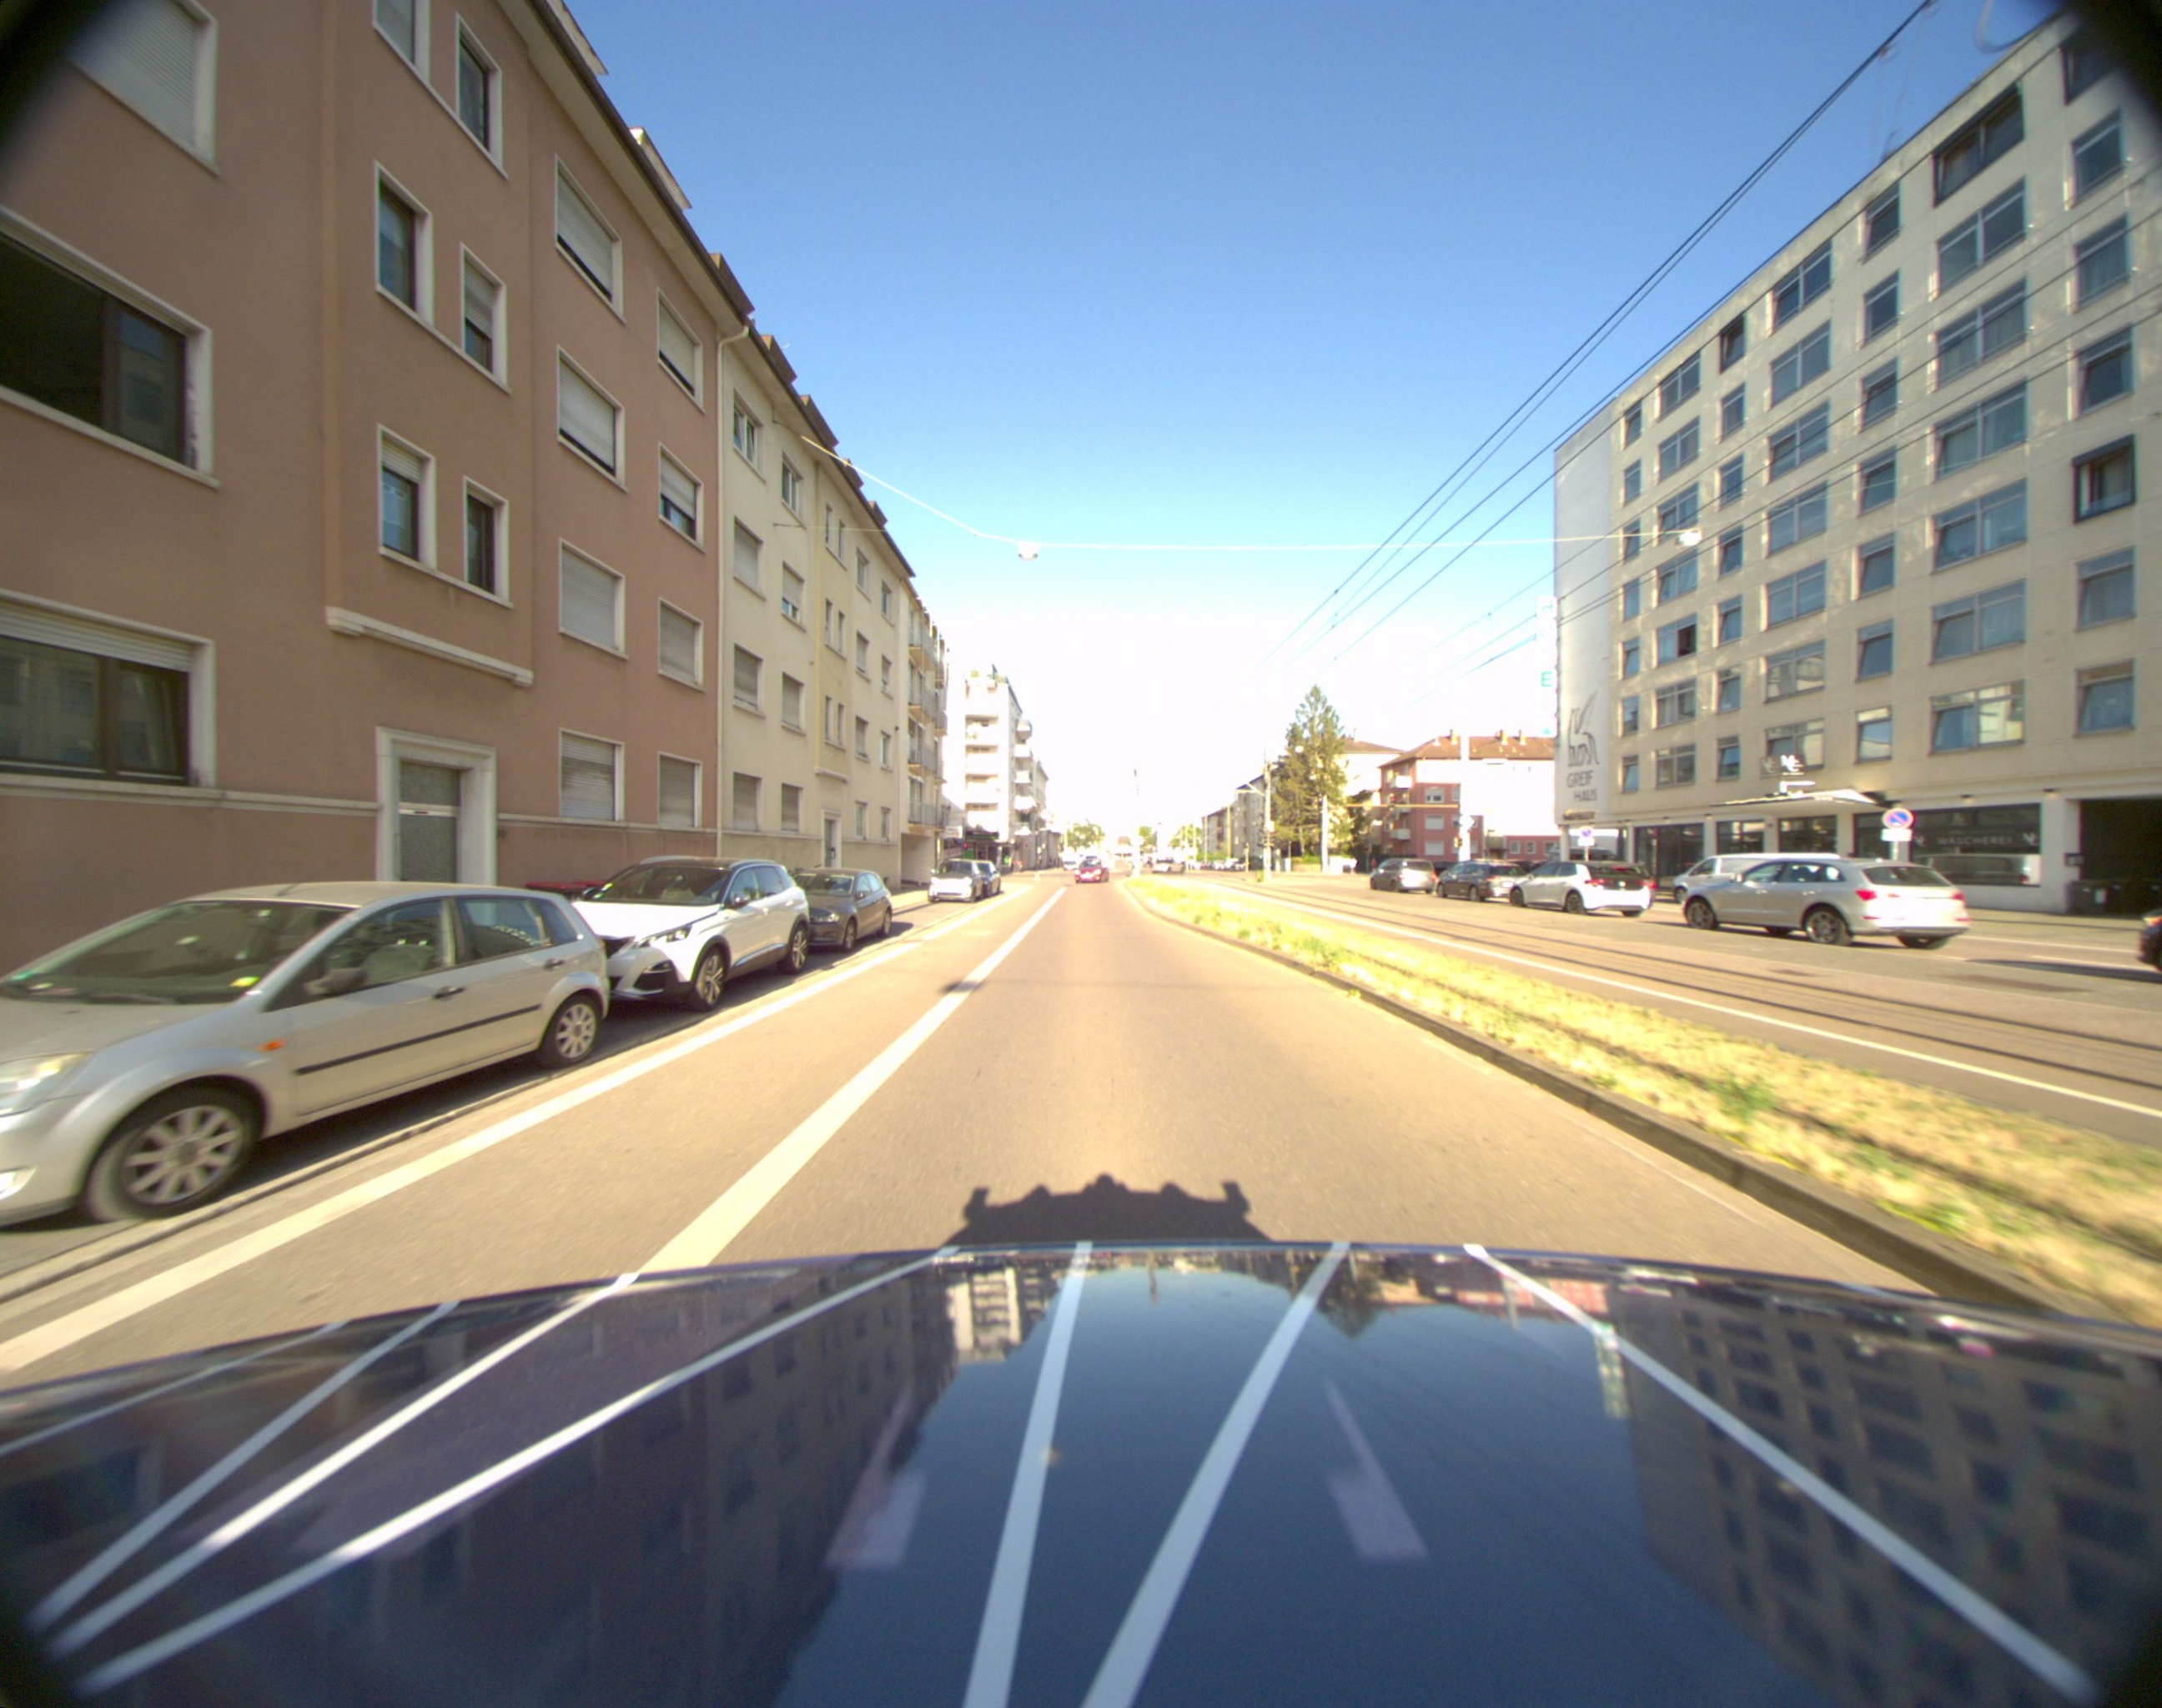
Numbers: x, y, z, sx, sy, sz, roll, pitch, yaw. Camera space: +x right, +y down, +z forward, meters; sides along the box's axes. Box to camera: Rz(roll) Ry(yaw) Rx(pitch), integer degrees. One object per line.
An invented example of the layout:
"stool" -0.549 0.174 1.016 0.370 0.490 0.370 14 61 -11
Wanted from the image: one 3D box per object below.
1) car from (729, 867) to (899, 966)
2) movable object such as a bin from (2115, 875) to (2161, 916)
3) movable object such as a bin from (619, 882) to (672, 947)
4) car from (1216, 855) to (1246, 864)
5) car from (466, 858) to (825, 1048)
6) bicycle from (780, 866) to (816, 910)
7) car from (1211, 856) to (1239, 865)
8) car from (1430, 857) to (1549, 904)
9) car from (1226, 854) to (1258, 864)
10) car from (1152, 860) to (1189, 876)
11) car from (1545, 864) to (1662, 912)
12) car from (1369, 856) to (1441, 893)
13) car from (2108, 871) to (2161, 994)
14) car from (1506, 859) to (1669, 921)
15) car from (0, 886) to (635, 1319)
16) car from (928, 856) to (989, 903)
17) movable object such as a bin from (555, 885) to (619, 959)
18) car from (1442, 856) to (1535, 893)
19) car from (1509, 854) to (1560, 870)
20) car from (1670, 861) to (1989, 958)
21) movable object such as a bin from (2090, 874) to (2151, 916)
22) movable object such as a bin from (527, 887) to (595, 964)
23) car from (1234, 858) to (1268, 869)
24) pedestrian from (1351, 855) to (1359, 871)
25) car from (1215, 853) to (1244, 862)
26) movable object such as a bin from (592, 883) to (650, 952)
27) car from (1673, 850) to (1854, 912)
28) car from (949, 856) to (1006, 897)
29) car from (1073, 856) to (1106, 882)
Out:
"car" -4.866 1.061 14.536 1.750 1.470 4.153 3 0 -1
"movable object such as a bin" 28.099 1.097 20.056 0.545 1.045 0.775 1 0 3
"movable object such as a bin" -7.986 1.096 13.951 0.605 1.128 0.563 -2 0 2
"car" 21.526 0.764 108.919 3.997 1.324 1.738 1 0 1
"car" -4.850 0.949 9.394 1.806 1.687 4.490 3 0 -1
"bicycle" -7.992 0.929 21.490 0.325 1.167 1.763 -2 0 -1
"car" 22.143 1.032 117.257 3.997 1.324 1.738 1 0 1
"car" 15.014 0.925 28.256 1.999 1.541 4.366 2 0 -1
"car" 21.887 0.678 103.402 3.997 1.324 1.738 1 0 1
"car" 8.346 1.287 70.901 1.718 1.379 3.720 -2 0 37
"car" 18.165 1.143 26.622 1.571 1.492 3.572 2 0 -1
"car" 14.948 0.905 35.251 1.617 1.550 4.000 2 0 1
"car" 14.451 0.994 7.774 1.788 1.519 4.414 1 0 -4
"car" 14.581 0.963 22.216 1.861 1.541 4.240 2 0 -1
"car" -4.838 1.032 4.646 1.625 1.452 4.056 3 0 3
"car" -4.407 0.888 27.630 1.762 1.543 2.649 2 0 -1
"movable object such as a bin" -8.036 1.095 12.376 0.605 1.128 0.563 -2 0 2
"car" 18.122 0.873 34.024 1.999 1.550 4.000 0 0 -1
"car" 44.781 0.755 75.040 3.898 1.433 1.787 -2 0 1
"car" 14.287 0.956 14.999 1.787 1.572 4.608 1 0 1
"movable object such as a bin" 27.518 1.076 20.120 0.545 1.045 0.775 1 0 3
"movable object such as a bin" -8.041 1.094 11.766 0.605 1.128 0.563 -2 0 2
"car" 21.785 1.222 97.629 3.997 1.324 1.738 1 0 1
"pedestrian" 26.985 0.883 74.863 0.615 1.596 0.510 -2 0 -1
"car" 22.073 0.568 113.347 3.997 1.324 1.738 1 0 1
"movable object such as a bin" -7.991 1.095 13.215 0.605 1.128 0.563 -2 0 2
"car" 23.361 0.863 26.306 1.999 1.887 4.670 -2 0 -1
"car" -4.249 0.881 31.777 1.822 1.543 4.175 2 0 -1
"car" 0.569 0.853 45.669 1.862 1.461 3.809 1 0 2
